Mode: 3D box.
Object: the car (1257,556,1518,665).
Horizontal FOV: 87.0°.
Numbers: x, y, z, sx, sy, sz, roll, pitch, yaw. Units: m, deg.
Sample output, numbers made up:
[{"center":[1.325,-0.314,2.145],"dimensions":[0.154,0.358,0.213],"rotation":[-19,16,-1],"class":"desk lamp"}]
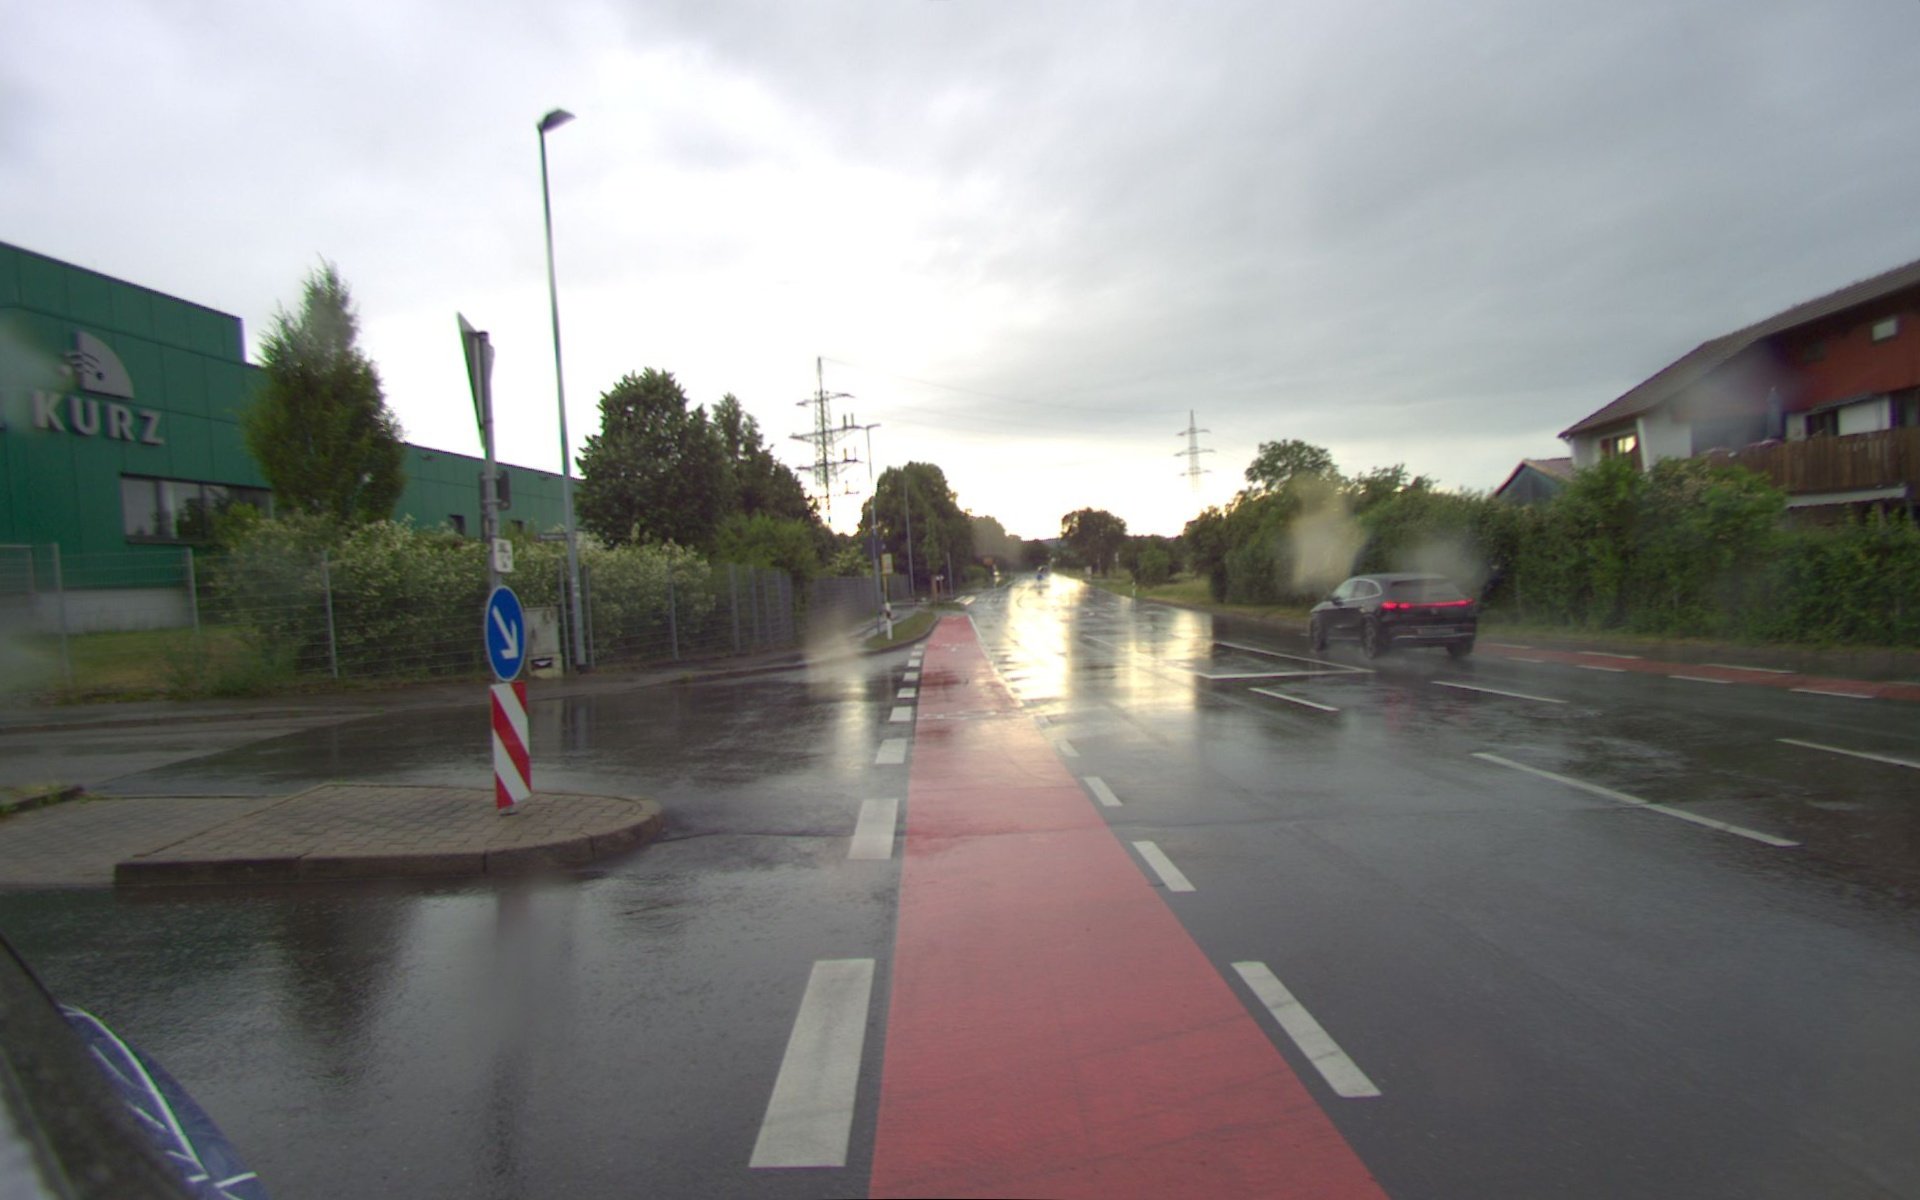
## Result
[{"center":[8.490,0.176,21.153],"dimensions":[2.328,1.829,6.879],"rotation":[-2,0,-2],"class":"car"}]
